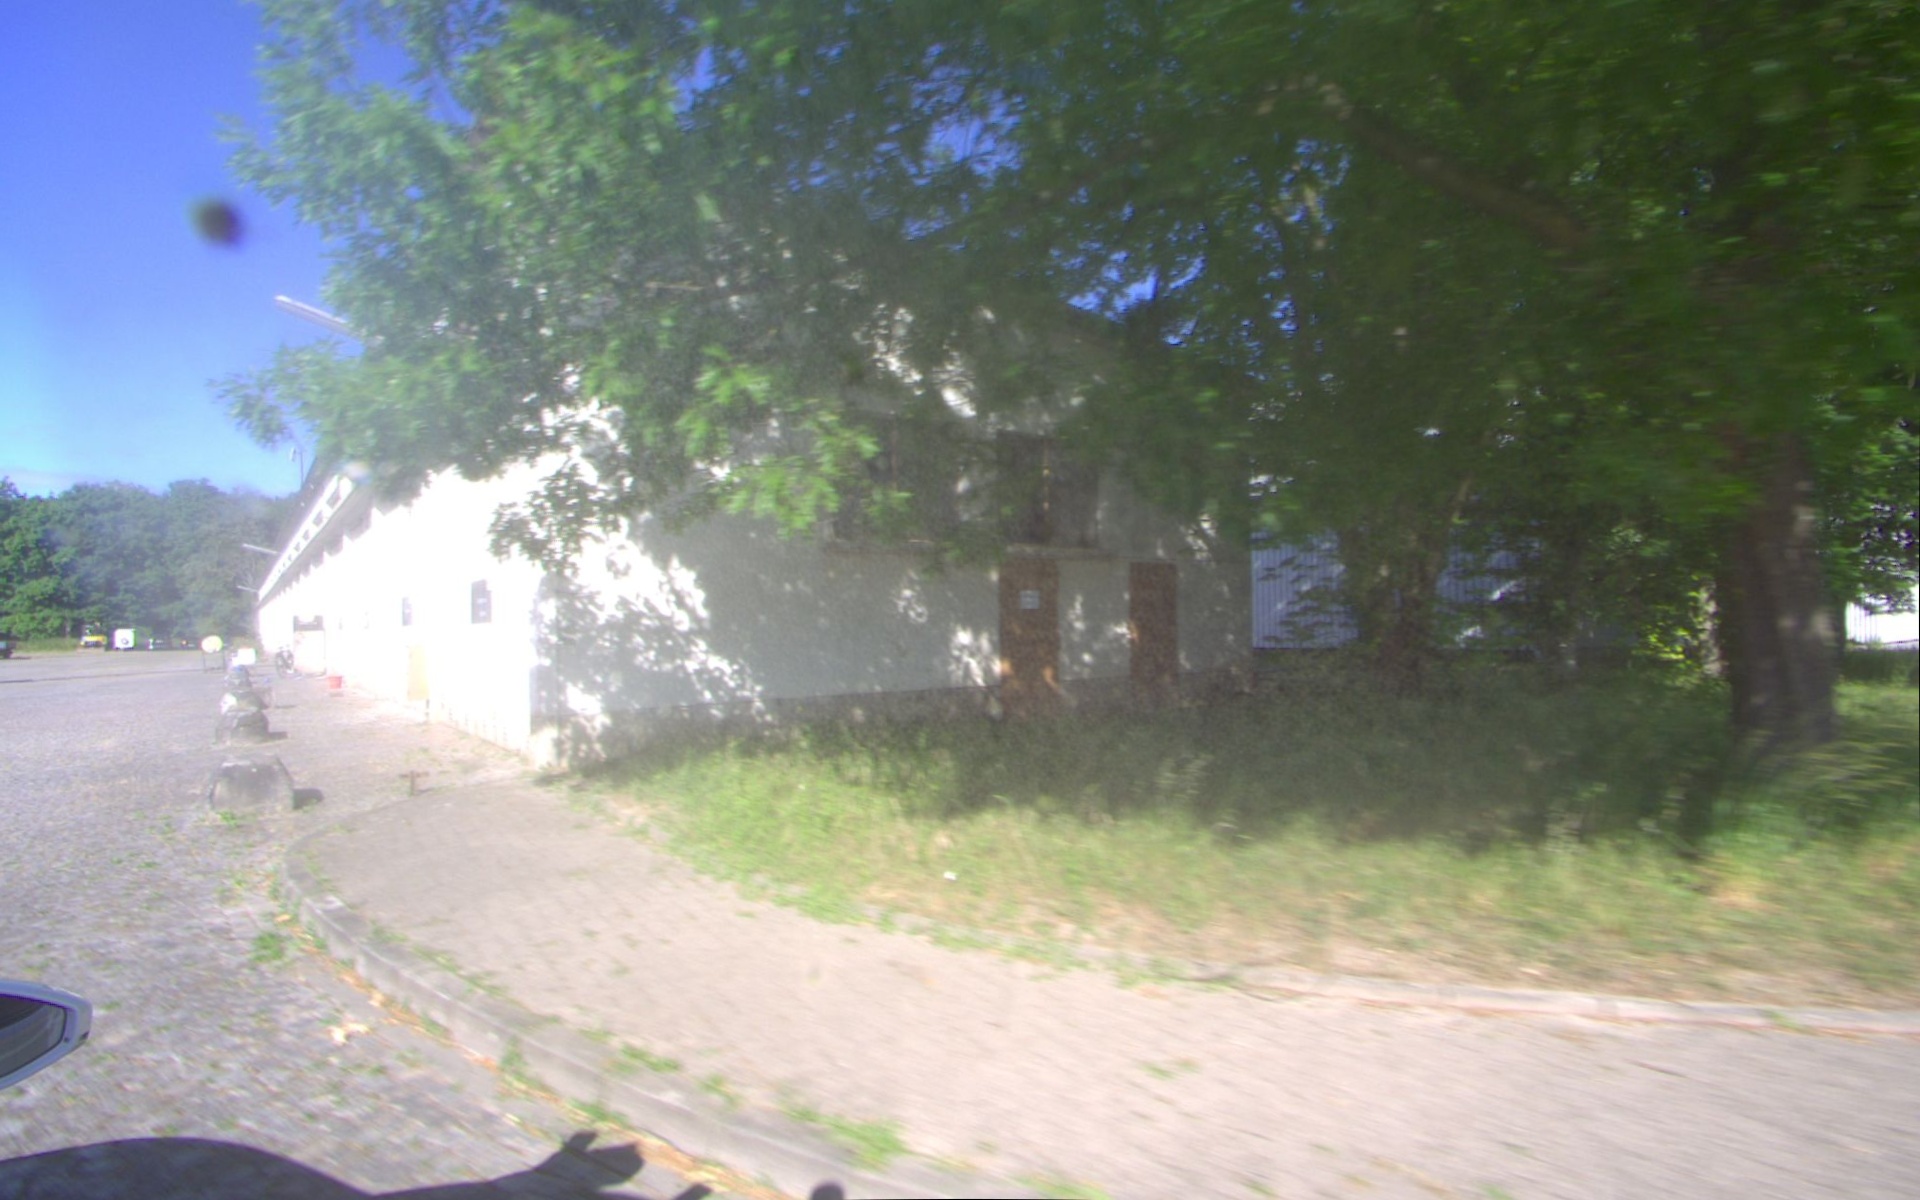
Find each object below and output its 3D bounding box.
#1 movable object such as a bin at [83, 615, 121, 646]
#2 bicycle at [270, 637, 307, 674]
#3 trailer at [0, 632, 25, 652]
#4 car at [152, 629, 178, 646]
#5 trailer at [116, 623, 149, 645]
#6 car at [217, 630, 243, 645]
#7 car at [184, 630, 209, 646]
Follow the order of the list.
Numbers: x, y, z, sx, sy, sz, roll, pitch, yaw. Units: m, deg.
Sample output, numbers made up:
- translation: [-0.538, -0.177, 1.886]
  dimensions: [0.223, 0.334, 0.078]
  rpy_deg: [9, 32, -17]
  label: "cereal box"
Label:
- translation: [-85.239, 3.029, 99.537]
  dimensions: [2.285, 2.934, 5.710]
  rpy_deg: [1, -1, -35]
  label: "movable object such as a bin"
- translation: [-20.582, 1.683, 30.724]
  dimensions: [0.656, 1.081, 1.818]
  rpy_deg: [0, -2, -24]
  label: "bicycle"
- translation: [-77.028, 3.306, 80.041]
  dimensions: [2.682, 1.484, 6.199]
  rpy_deg: [2, -2, -37]
  label: "trailer"
- translation: [-79.461, 3.726, 100.156]
  dimensions: [1.847, 1.610, 4.264]
  rpy_deg: [1, -1, -36]
  label: "car"
- translation: [-82.999, 3.387, 100.468]
  dimensions: [2.174, 2.122, 5.708]
  rpy_deg: [1, -1, -36]
  label: "trailer"
- translation: [-75.459, 3.856, 103.516]
  dimensions: [1.726, 1.455, 4.159]
  rpy_deg: [1, -1, -31]
  label: "car"
- translation: [-77.696, 3.842, 101.926]
  dimensions: [1.847, 1.489, 4.264]
  rpy_deg: [2, -1, -36]
  label: "car"
